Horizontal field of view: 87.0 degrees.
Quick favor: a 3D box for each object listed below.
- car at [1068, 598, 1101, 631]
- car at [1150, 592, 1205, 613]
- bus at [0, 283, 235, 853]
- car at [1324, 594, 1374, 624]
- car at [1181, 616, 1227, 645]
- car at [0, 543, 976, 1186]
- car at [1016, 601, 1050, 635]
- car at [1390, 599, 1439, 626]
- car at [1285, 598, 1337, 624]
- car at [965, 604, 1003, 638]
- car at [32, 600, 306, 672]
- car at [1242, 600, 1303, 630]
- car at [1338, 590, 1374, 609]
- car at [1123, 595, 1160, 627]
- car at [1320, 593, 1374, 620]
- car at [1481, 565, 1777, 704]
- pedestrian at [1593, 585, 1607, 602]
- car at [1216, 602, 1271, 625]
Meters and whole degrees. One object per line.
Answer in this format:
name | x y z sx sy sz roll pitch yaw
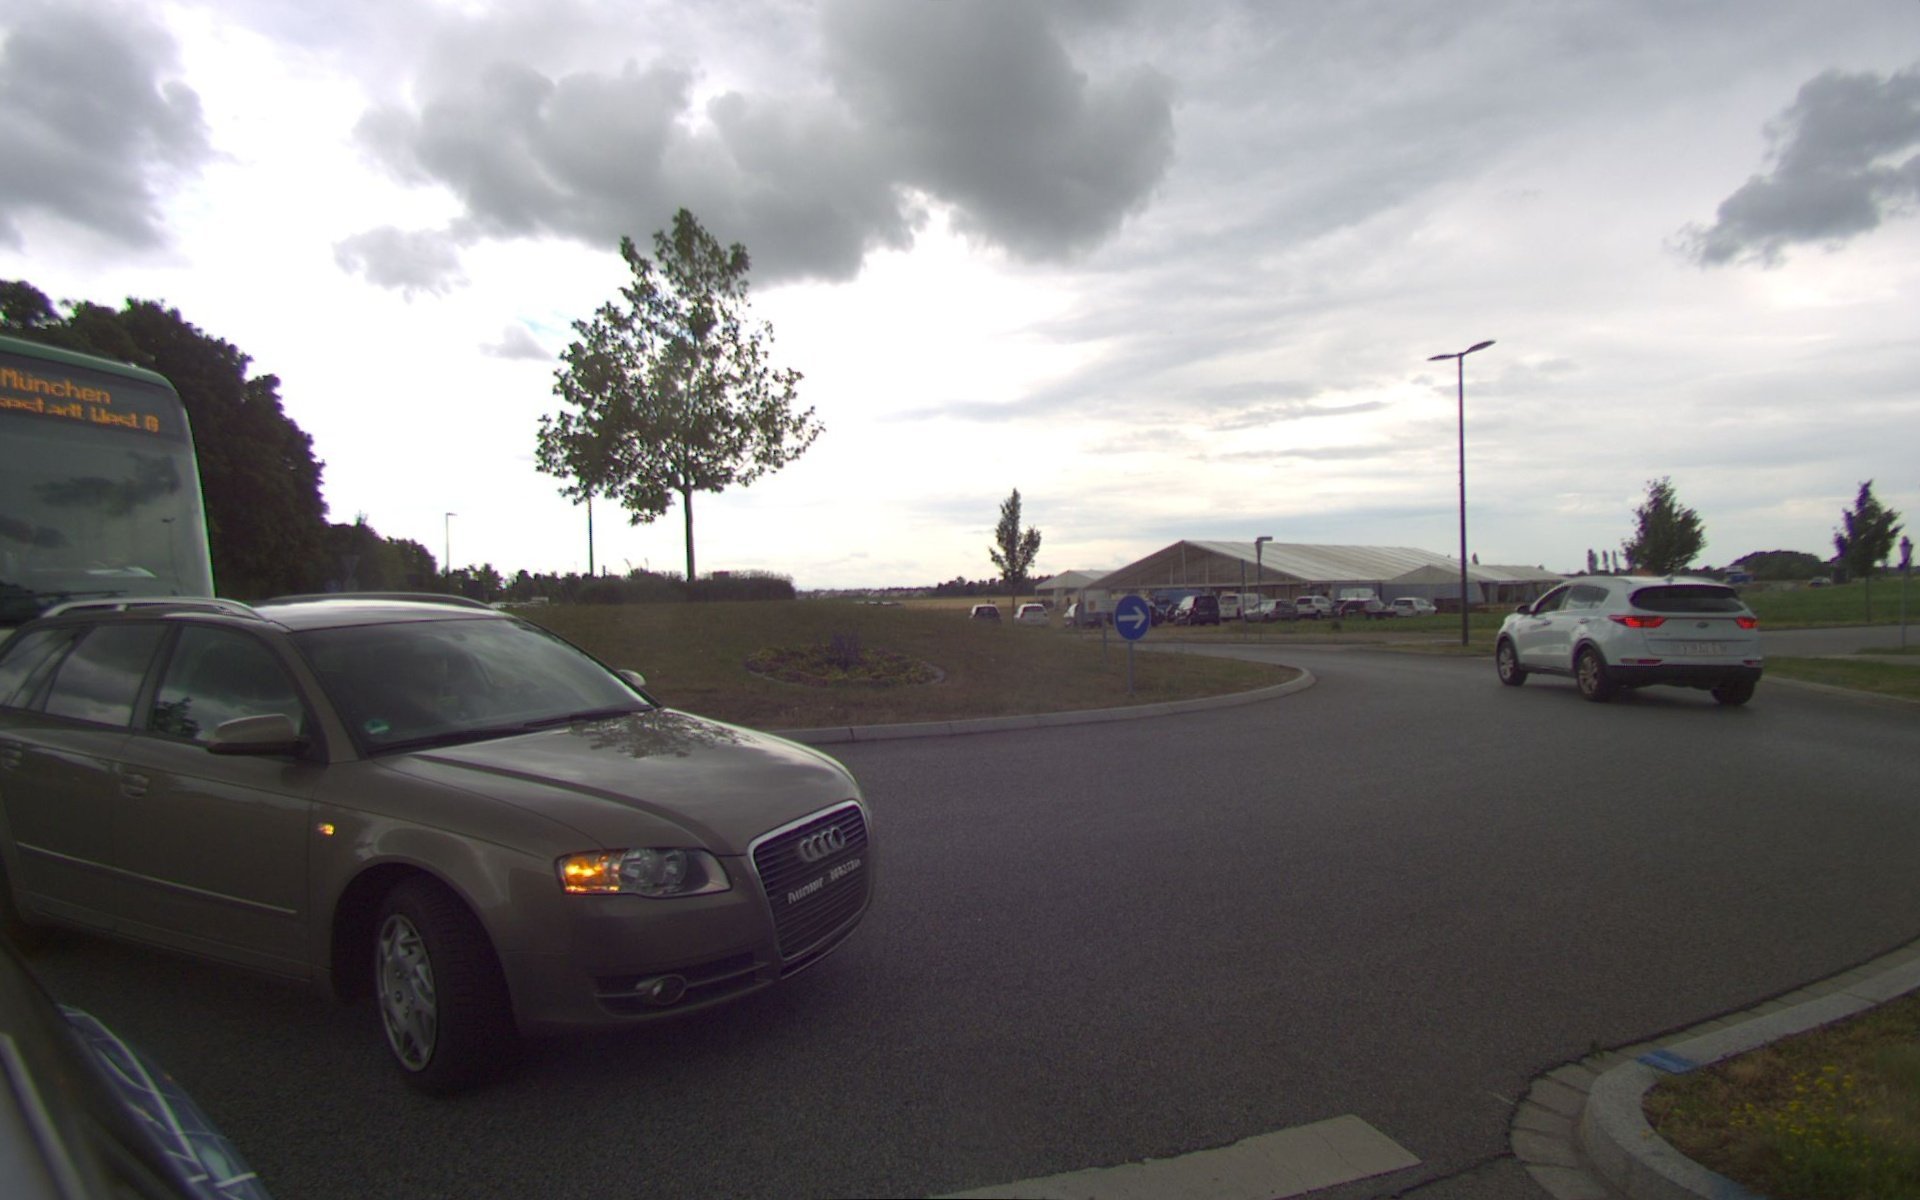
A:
car | 6.966 0.785 56.709 1.695 1.564 3.993 -3 2 6
car | 16.398 0.196 76.198 3.935 1.453 1.956 -2 0 -37
bus | -8.698 -0.180 6.595 6.469 3.283 2.520 0 0 7
car | 22.669 0.502 59.080 1.615 1.618 3.871 -1 0 4
car | 13.609 1.663 56.602 1.928 1.453 3.993 -1 0 6
car | -2.358 0.664 4.096 4.514 1.476 1.768 -2 -1 25
car | 4.114 0.974 56.493 1.695 1.564 3.993 -3 2 6
car | 28.264 0.789 62.863 1.730 1.565 3.946 -1 0 40
car | 23.289 0.745 67.088 1.836 1.618 3.774 -1 0 45
car | 1.377 1.149 56.508 1.695 1.564 3.993 -3 2 6
car | -19.361 0.820 25.153 1.955 1.509 5.261 -1 0 15
car | 18.372 0.857 59.684 1.706 1.618 3.886 -1 0 -12
car | 37.471 -0.054 95.777 3.773 1.618 1.836 -2 0 -45
car | 10.117 0.584 56.645 1.695 1.564 3.993 -3 2 6
car | 24.957 0.407 65.191 1.836 1.618 3.774 -1 0 45
car | 9.101 0.455 14.280 1.694 1.638 4.439 0 -1 8
pedestrian | 75.634 -0.789 119.607 1.044 2.029 1.053 -2 0 -41
car | 19.495 0.920 69.483 1.952 1.453 3.943 -1 0 44
